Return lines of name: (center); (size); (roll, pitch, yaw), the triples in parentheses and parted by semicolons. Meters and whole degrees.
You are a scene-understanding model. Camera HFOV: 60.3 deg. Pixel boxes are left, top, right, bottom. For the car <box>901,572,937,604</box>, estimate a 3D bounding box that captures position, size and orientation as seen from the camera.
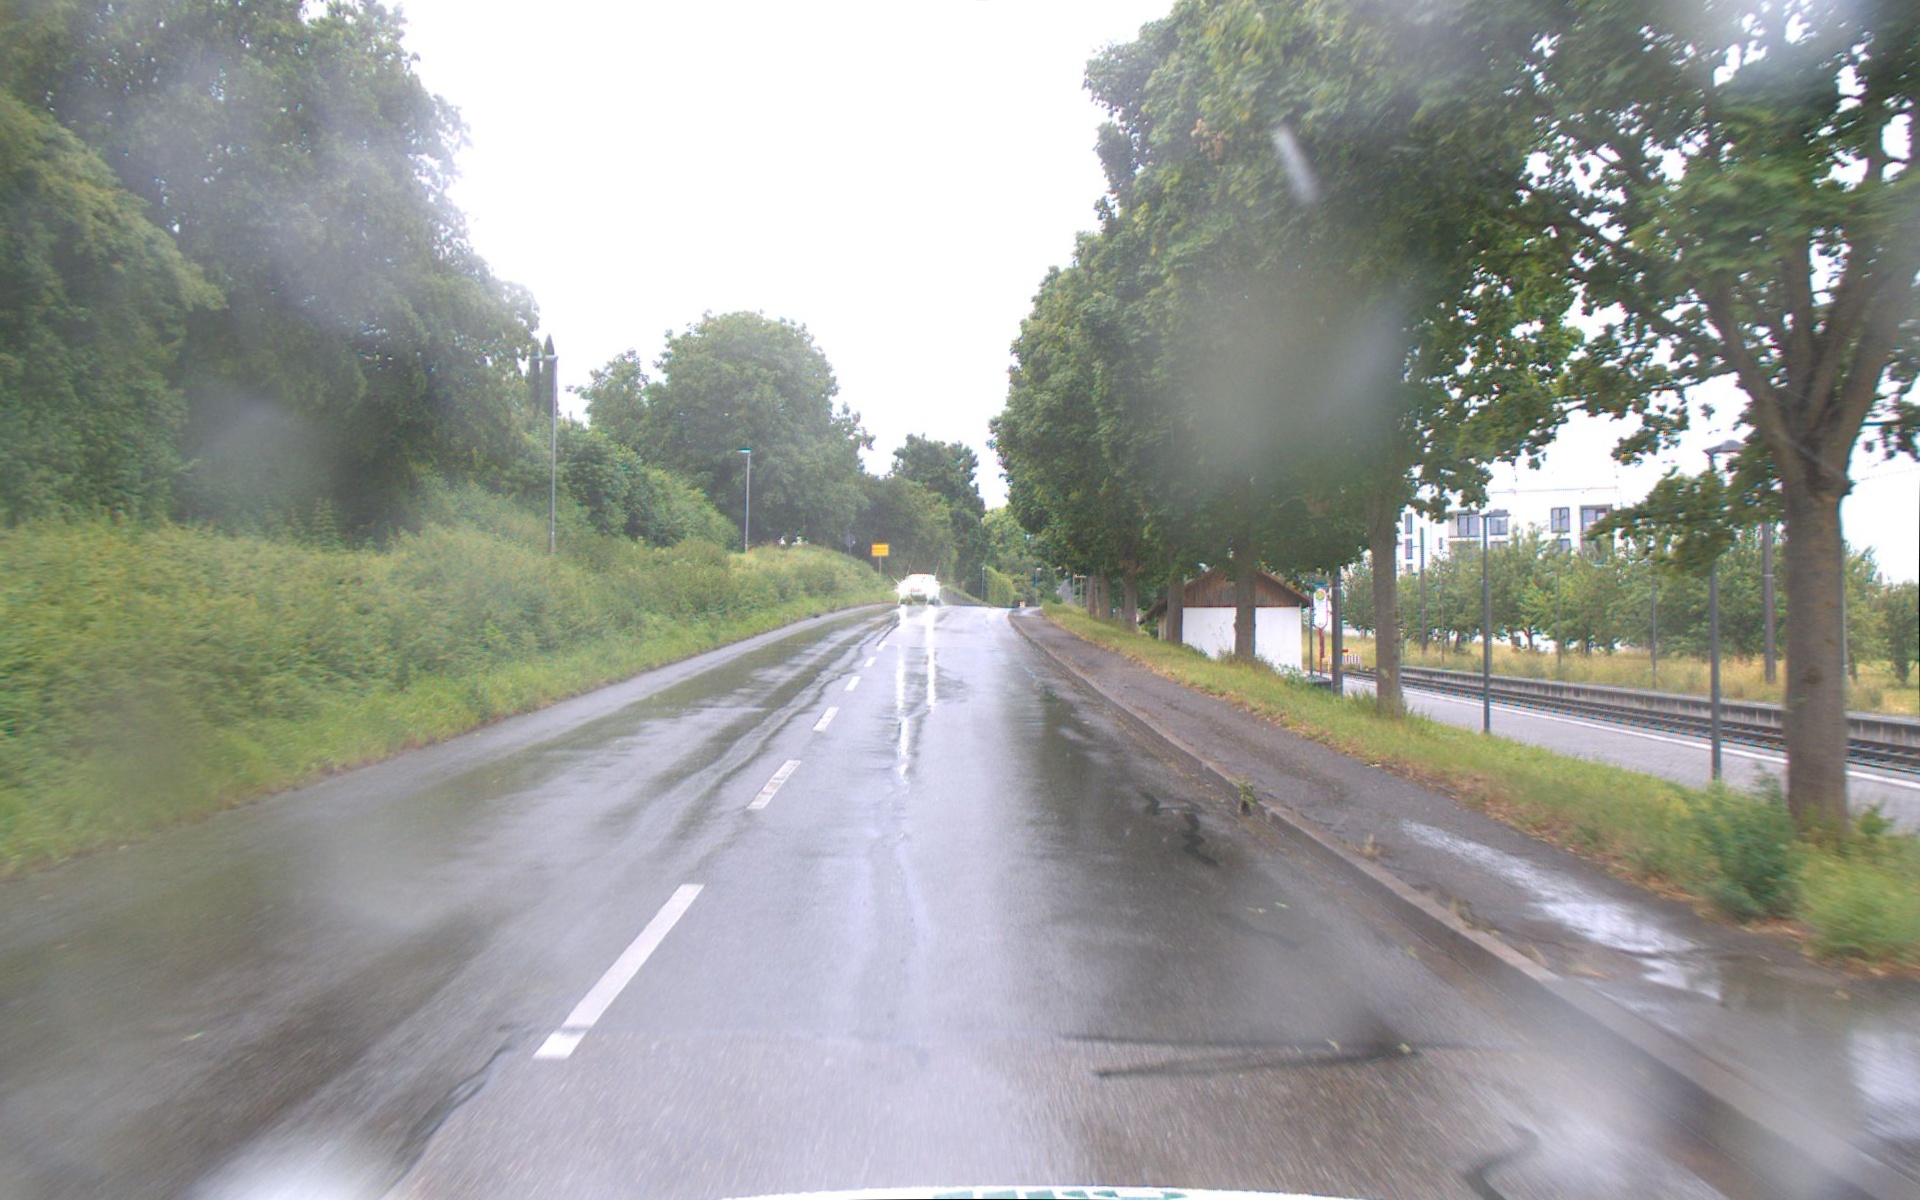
car: (-2.095, -0.645, 85.404); (1.745, 1.531, 4.001); (0, 2, 1)
